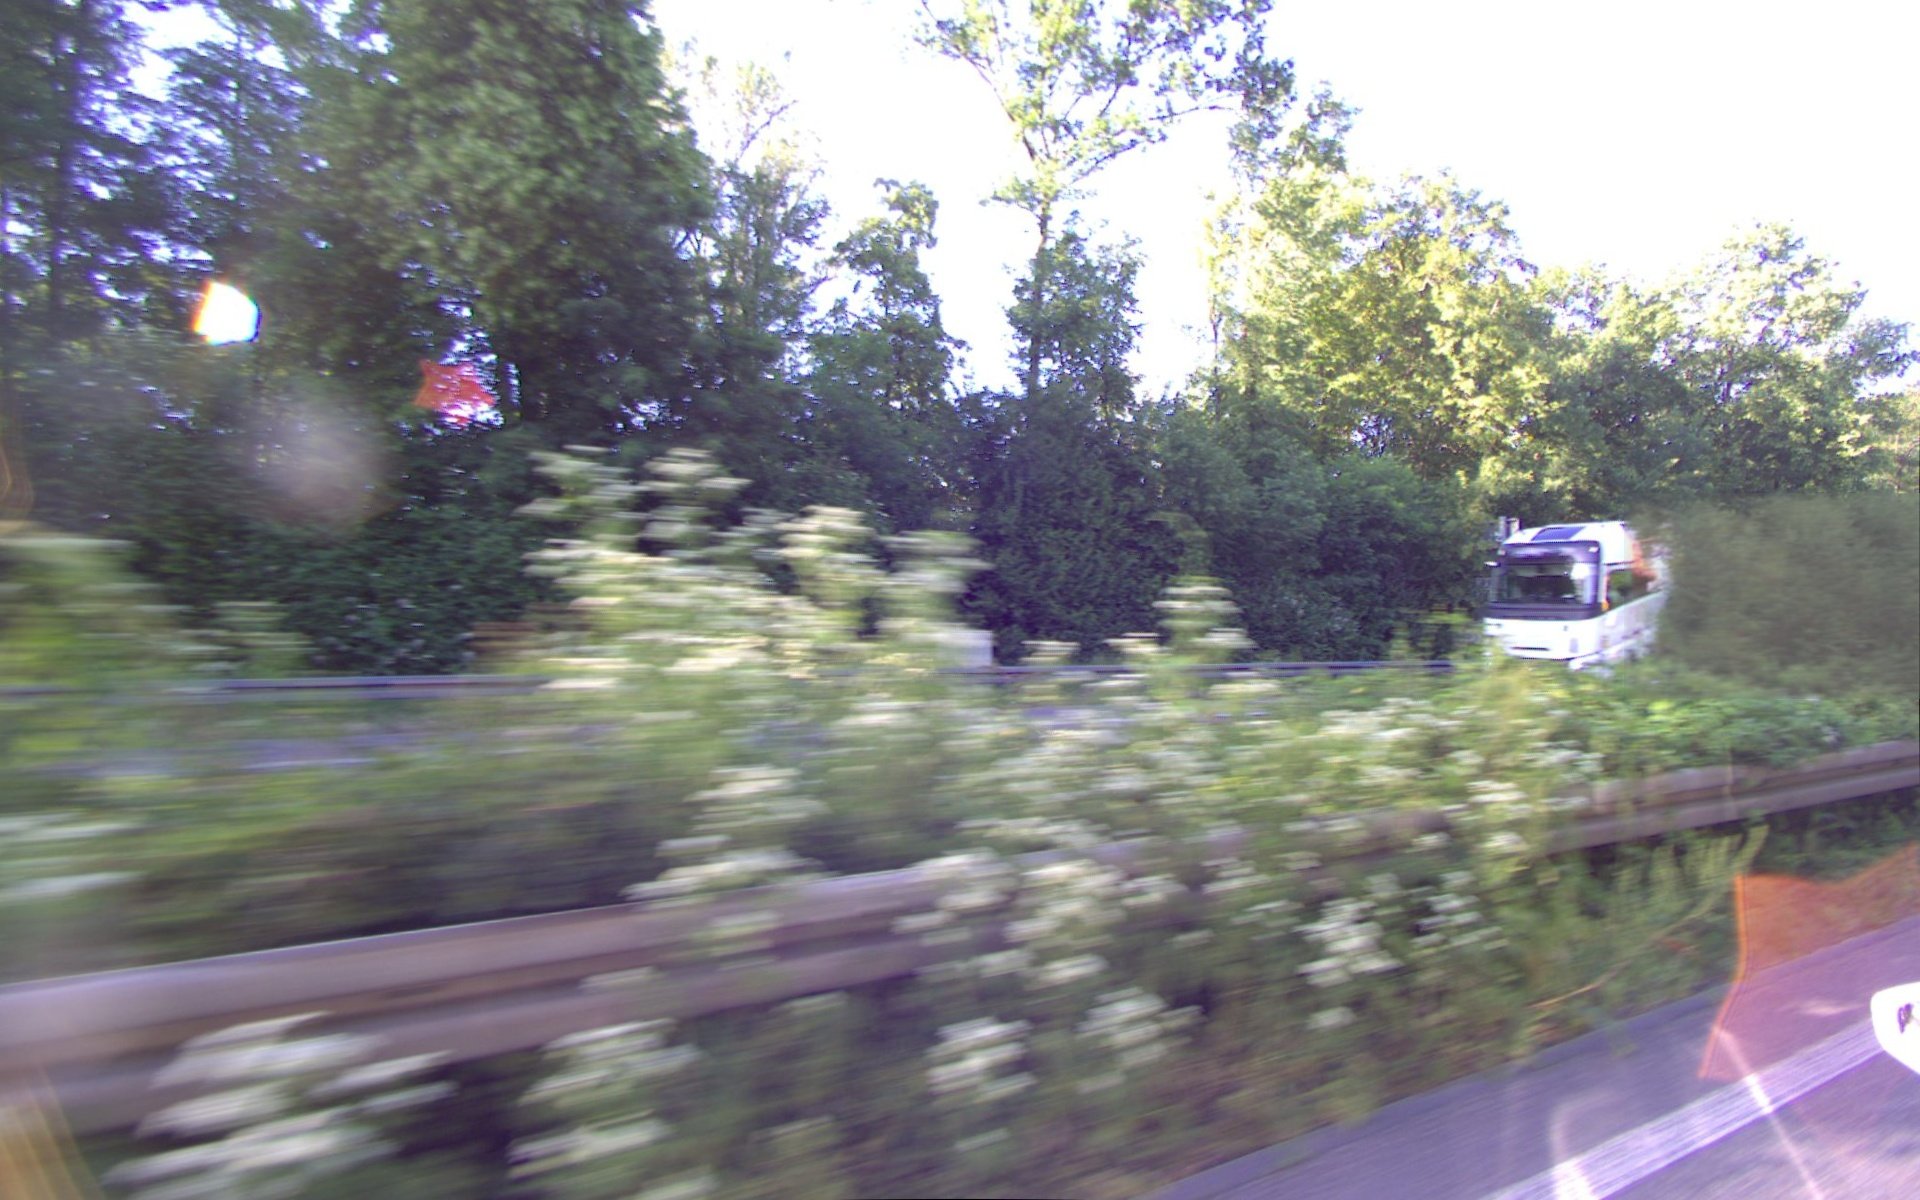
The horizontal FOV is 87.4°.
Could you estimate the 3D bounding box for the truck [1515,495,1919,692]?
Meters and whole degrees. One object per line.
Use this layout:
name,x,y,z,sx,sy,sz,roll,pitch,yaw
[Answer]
truck,19.953,-0.007,25.733,14.282,4.066,3.228,1,0,-31

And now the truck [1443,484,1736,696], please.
truck,13.873,-0.147,22.135,5.610,4.066,3.213,1,0,-30
